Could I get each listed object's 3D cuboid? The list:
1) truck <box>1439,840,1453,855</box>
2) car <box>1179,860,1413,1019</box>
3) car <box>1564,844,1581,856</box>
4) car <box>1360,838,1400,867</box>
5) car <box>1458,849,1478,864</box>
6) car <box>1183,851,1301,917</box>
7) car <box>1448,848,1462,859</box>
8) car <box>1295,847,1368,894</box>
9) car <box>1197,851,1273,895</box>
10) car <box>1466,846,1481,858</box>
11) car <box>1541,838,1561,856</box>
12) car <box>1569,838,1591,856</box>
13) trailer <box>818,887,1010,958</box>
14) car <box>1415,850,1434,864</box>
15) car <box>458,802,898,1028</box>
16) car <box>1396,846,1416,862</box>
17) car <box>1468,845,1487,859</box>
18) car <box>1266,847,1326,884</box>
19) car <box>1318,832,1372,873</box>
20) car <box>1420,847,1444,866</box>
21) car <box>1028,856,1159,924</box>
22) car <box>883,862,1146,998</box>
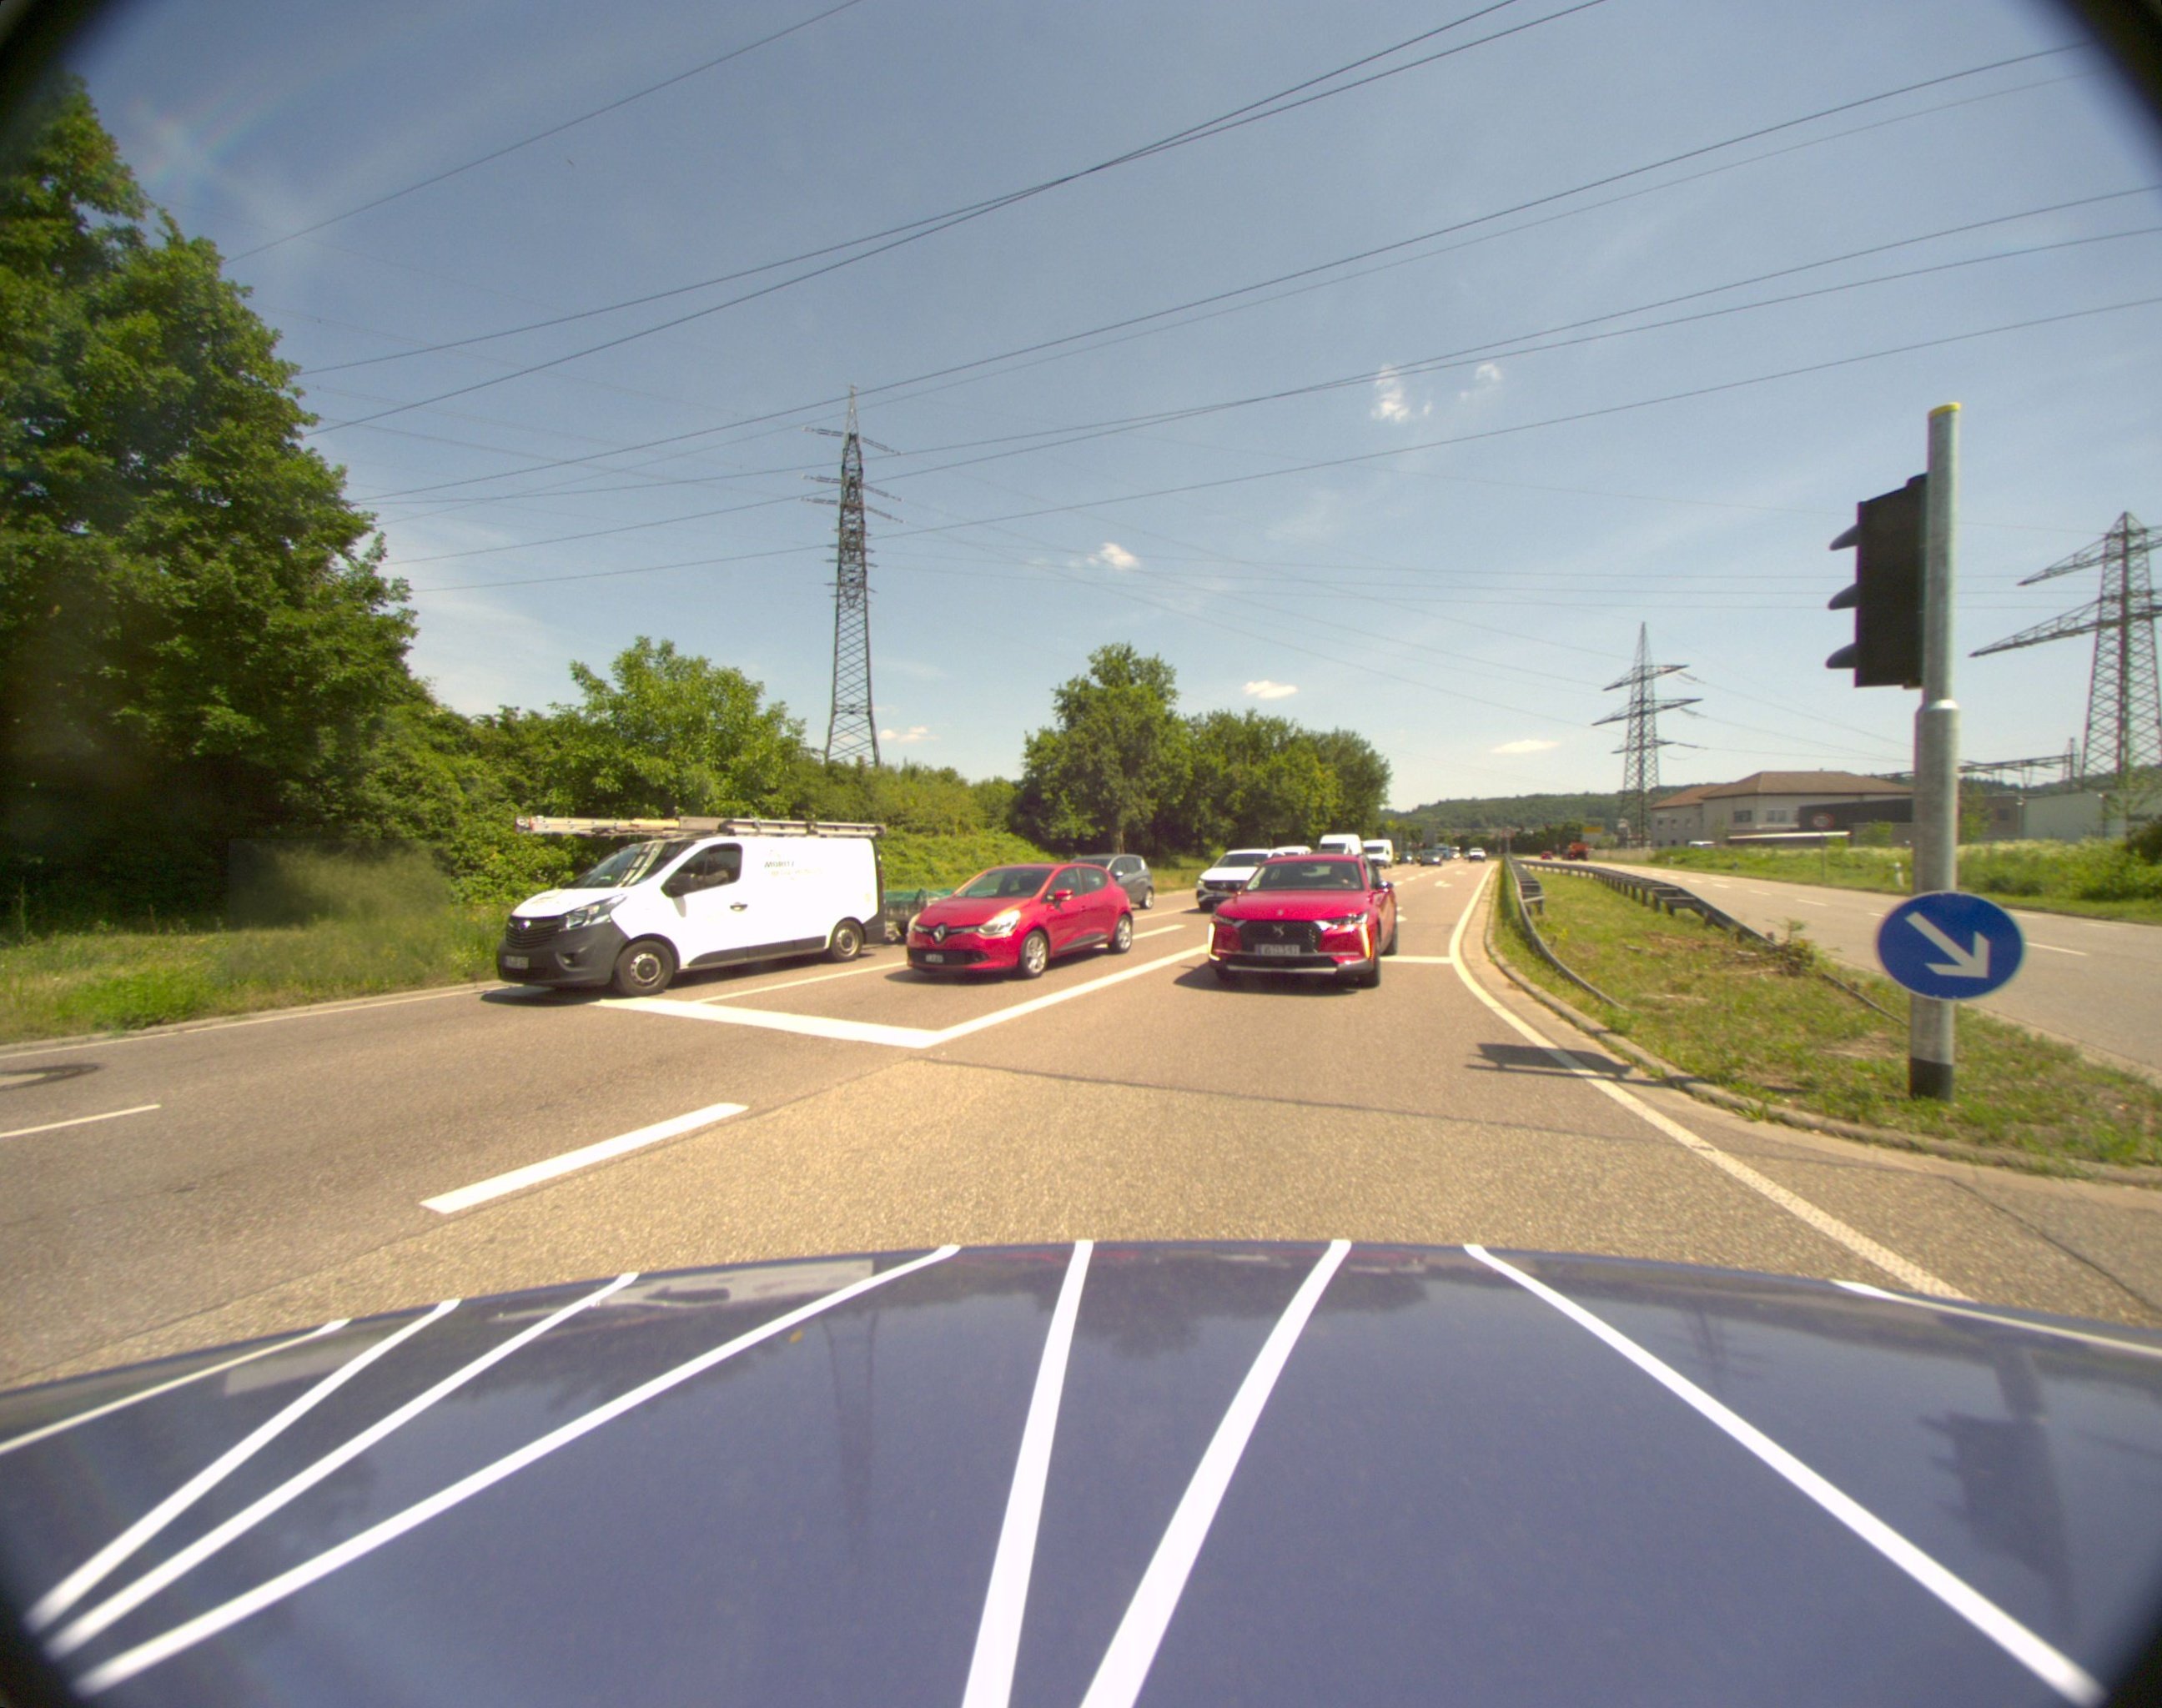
[{"bbox_3d":[64.583,-1.144,134.403,2.166,2.428,4.919,-2,1,27],"label":"truck"},{"bbox_3d":[2.977,0.865,9.702,1.843,1.453,4.422,-2,0,30],"label":"car"},{"bbox_3d":[87.088,-0.679,134.584,1.995,1.904,4.006,-2,1,25],"label":"car"},{"bbox_3d":[25.862,-0.146,65.525,2.304,2.408,5.825,-2,0,30],"label":"car"},{"bbox_3d":[52.670,0.306,103.312,1.994,2.002,4.008,1,1,33],"label":"car"},{"bbox_3d":[4.470,0.743,20.590,1.847,1.559,4.371,-2,0,30],"label":"car"},{"bbox_3d":[74.383,-0.120,150.985,1.994,2.002,4.007,-1,1,34],"label":"car"},{"bbox_3d":[9.870,0.622,29.768,2.018,1.671,4.007,-2,0,28],"label":"car"},{"bbox_3d":[6.293,0.725,30.715,1.744,1.585,4.280,-2,0,30],"label":"car"},{"bbox_3d":[72.722,-0.330,140.775,1.994,2.002,4.007,-1,1,33],"label":"car"},{"bbox_3d":[81.392,-1.152,131.632,2.601,3.043,5.649,1,1,28],"label":"car"},{"bbox_3d":[82.802,-1.161,126.133,2.601,3.043,5.649,1,1,28],"label":"car"},{"bbox_3d":[-2.993,1.197,14.221,1.707,1.000,3.330,-1,0,29],"label":"trailer"},{"bbox_3d":[46.767,0.368,103.338,1.995,1.807,4.007,-2,1,30],"label":"car"},{"bbox_3d":[-5.069,0.626,10.529,1.934,2.335,5.084,-1,0,29],"label":"car"},{"bbox_3d":[38.208,-0.039,89.316,1.875,1.674,4.006,-2,1,27],"label":"car"},{"bbox_3d":[50.888,-0.313,97.440,1.994,1.752,4.008,1,1,31],"label":"car"},{"bbox_3d":[11.178,0.548,39.274,1.806,1.790,5.047,-2,0,29],"label":"car"},{"bbox_3d":[18.000,-0.130,51.613,2.228,2.592,7.031,-2,0,29],"label":"car"},{"bbox_3d":[33.448,0.239,72.392,1.875,1.674,4.006,-2,1,27],"label":"car"},{"bbox_3d":[0.458,0.876,20.597,1.766,1.586,4.173,0,1,30],"label":"car"},{"bbox_3d":[-0.697,0.896,10.751,1.744,1.453,4.072,-2,0,28],"label":"car"}]
